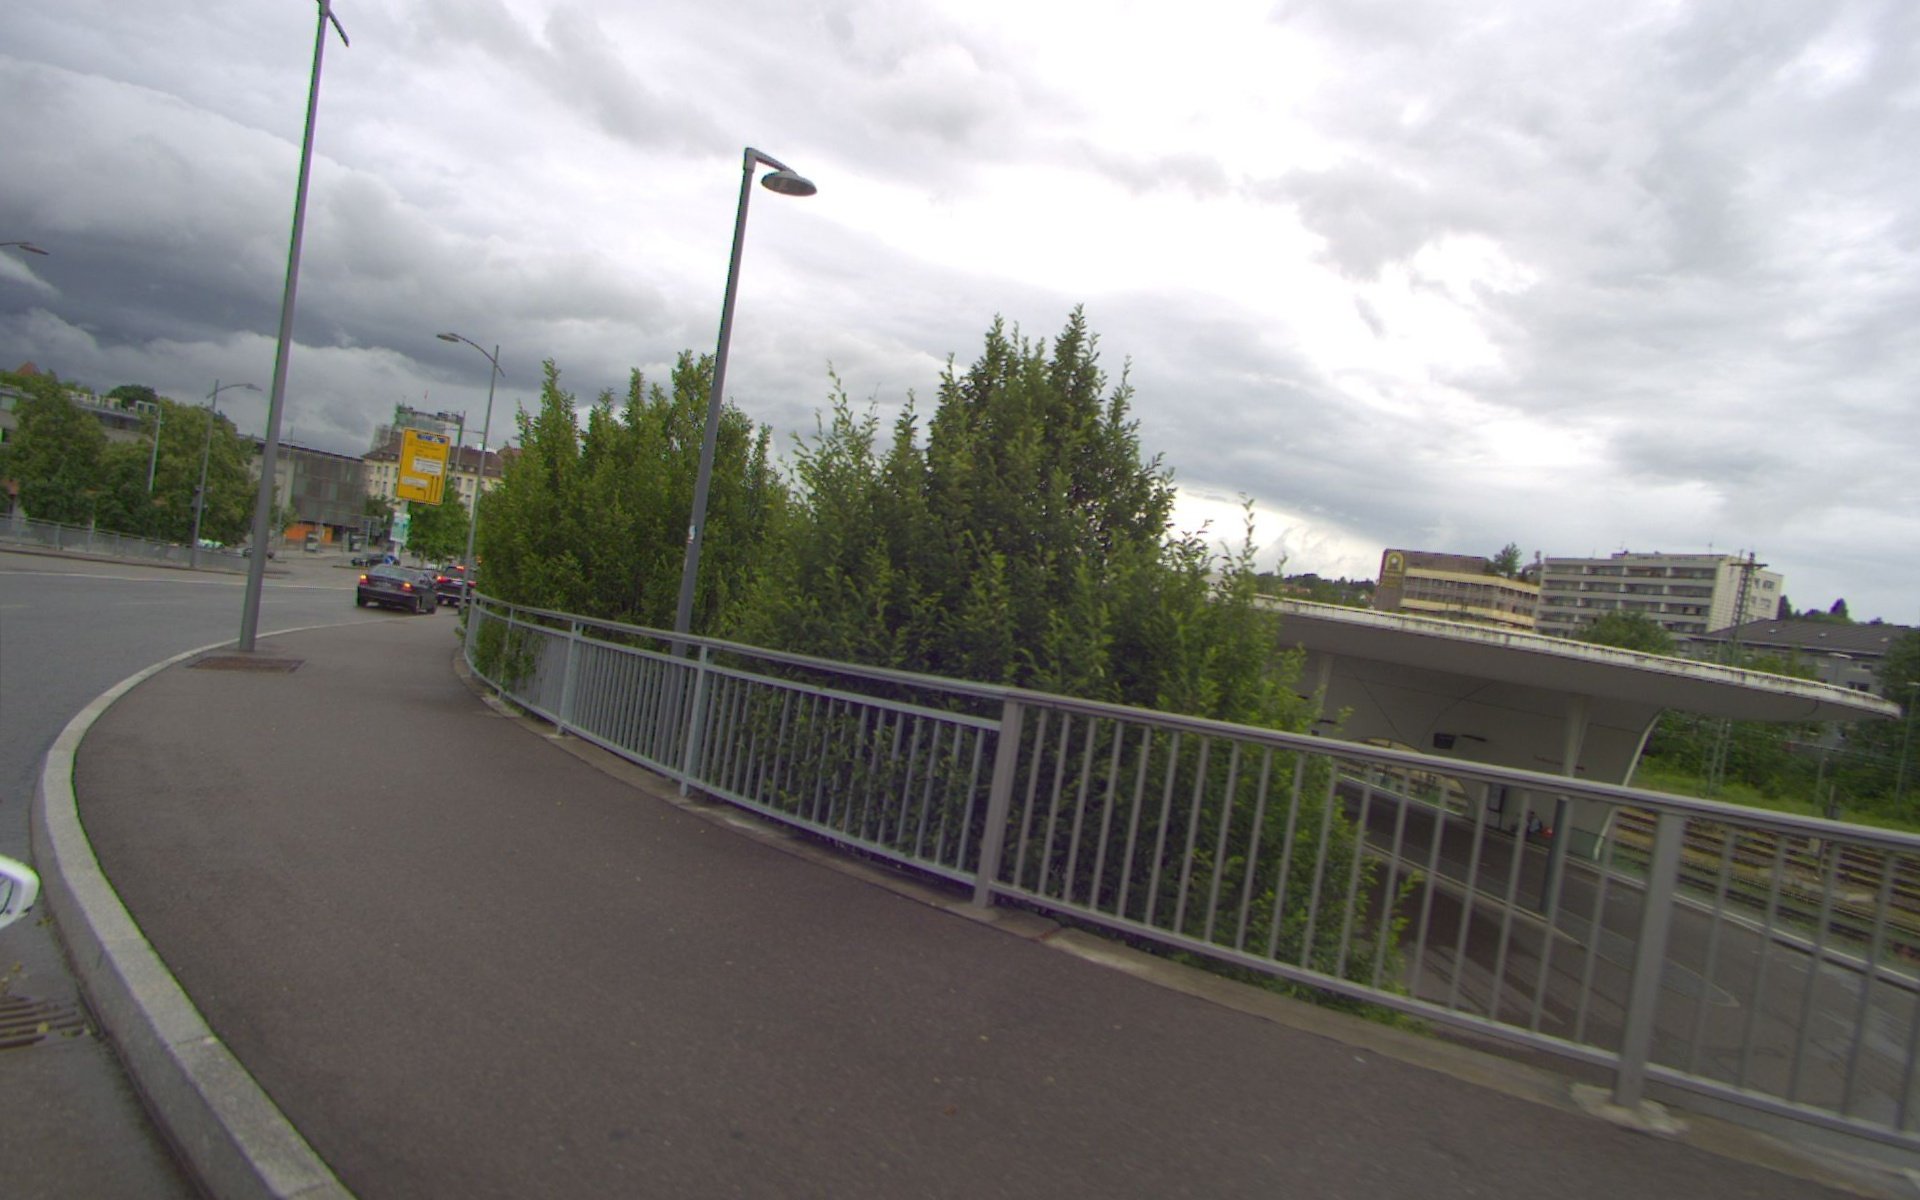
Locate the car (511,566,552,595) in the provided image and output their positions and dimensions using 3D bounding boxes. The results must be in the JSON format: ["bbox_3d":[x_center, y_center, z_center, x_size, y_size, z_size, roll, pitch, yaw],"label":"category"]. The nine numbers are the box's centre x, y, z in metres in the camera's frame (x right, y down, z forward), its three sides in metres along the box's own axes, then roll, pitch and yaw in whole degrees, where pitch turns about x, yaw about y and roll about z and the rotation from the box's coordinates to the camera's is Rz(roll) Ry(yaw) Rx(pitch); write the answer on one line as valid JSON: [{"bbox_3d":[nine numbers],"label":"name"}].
[{"bbox_3d":[-26.577,-1.208,62.524,1.741,1.452,3.986,10,-2,-17],"label":"car"}]

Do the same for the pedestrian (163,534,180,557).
[{"bbox_3d":[-52.564,-3.639,67.063,0.640,1.426,0.529,8,1,-15],"label":"pedestrian"}]

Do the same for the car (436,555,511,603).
[{"bbox_3d":[-21.489,-0.896,44.585,1.804,1.705,3.994,10,-2,-11],"label":"car"}]

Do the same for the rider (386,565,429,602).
[{"bbox_3d":[-24.879,-0.720,45.371,0.870,1.487,2.192,10,-2,-12],"label":"rider"}]

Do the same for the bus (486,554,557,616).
[{"bbox_3d":[-28.146,-0.926,65.030,2.797,3.224,10.273,10,-3,-18],"label":"bus"}]

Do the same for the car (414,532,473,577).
[{"bbox_3d":[-28.981,-2.519,56.534,1.972,2.028,3.987,10,-2,-17],"label":"car"}]

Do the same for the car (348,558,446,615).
[{"bbox_3d":[-17.843,-0.409,32.061,1.686,1.435,3.715,10,-2,-15],"label":"car"}]

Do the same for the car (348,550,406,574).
[{"bbox_3d":[-68.378,-4.449,118.105,1.965,2.037,5.626,8,-1,27],"label":"car"}]
